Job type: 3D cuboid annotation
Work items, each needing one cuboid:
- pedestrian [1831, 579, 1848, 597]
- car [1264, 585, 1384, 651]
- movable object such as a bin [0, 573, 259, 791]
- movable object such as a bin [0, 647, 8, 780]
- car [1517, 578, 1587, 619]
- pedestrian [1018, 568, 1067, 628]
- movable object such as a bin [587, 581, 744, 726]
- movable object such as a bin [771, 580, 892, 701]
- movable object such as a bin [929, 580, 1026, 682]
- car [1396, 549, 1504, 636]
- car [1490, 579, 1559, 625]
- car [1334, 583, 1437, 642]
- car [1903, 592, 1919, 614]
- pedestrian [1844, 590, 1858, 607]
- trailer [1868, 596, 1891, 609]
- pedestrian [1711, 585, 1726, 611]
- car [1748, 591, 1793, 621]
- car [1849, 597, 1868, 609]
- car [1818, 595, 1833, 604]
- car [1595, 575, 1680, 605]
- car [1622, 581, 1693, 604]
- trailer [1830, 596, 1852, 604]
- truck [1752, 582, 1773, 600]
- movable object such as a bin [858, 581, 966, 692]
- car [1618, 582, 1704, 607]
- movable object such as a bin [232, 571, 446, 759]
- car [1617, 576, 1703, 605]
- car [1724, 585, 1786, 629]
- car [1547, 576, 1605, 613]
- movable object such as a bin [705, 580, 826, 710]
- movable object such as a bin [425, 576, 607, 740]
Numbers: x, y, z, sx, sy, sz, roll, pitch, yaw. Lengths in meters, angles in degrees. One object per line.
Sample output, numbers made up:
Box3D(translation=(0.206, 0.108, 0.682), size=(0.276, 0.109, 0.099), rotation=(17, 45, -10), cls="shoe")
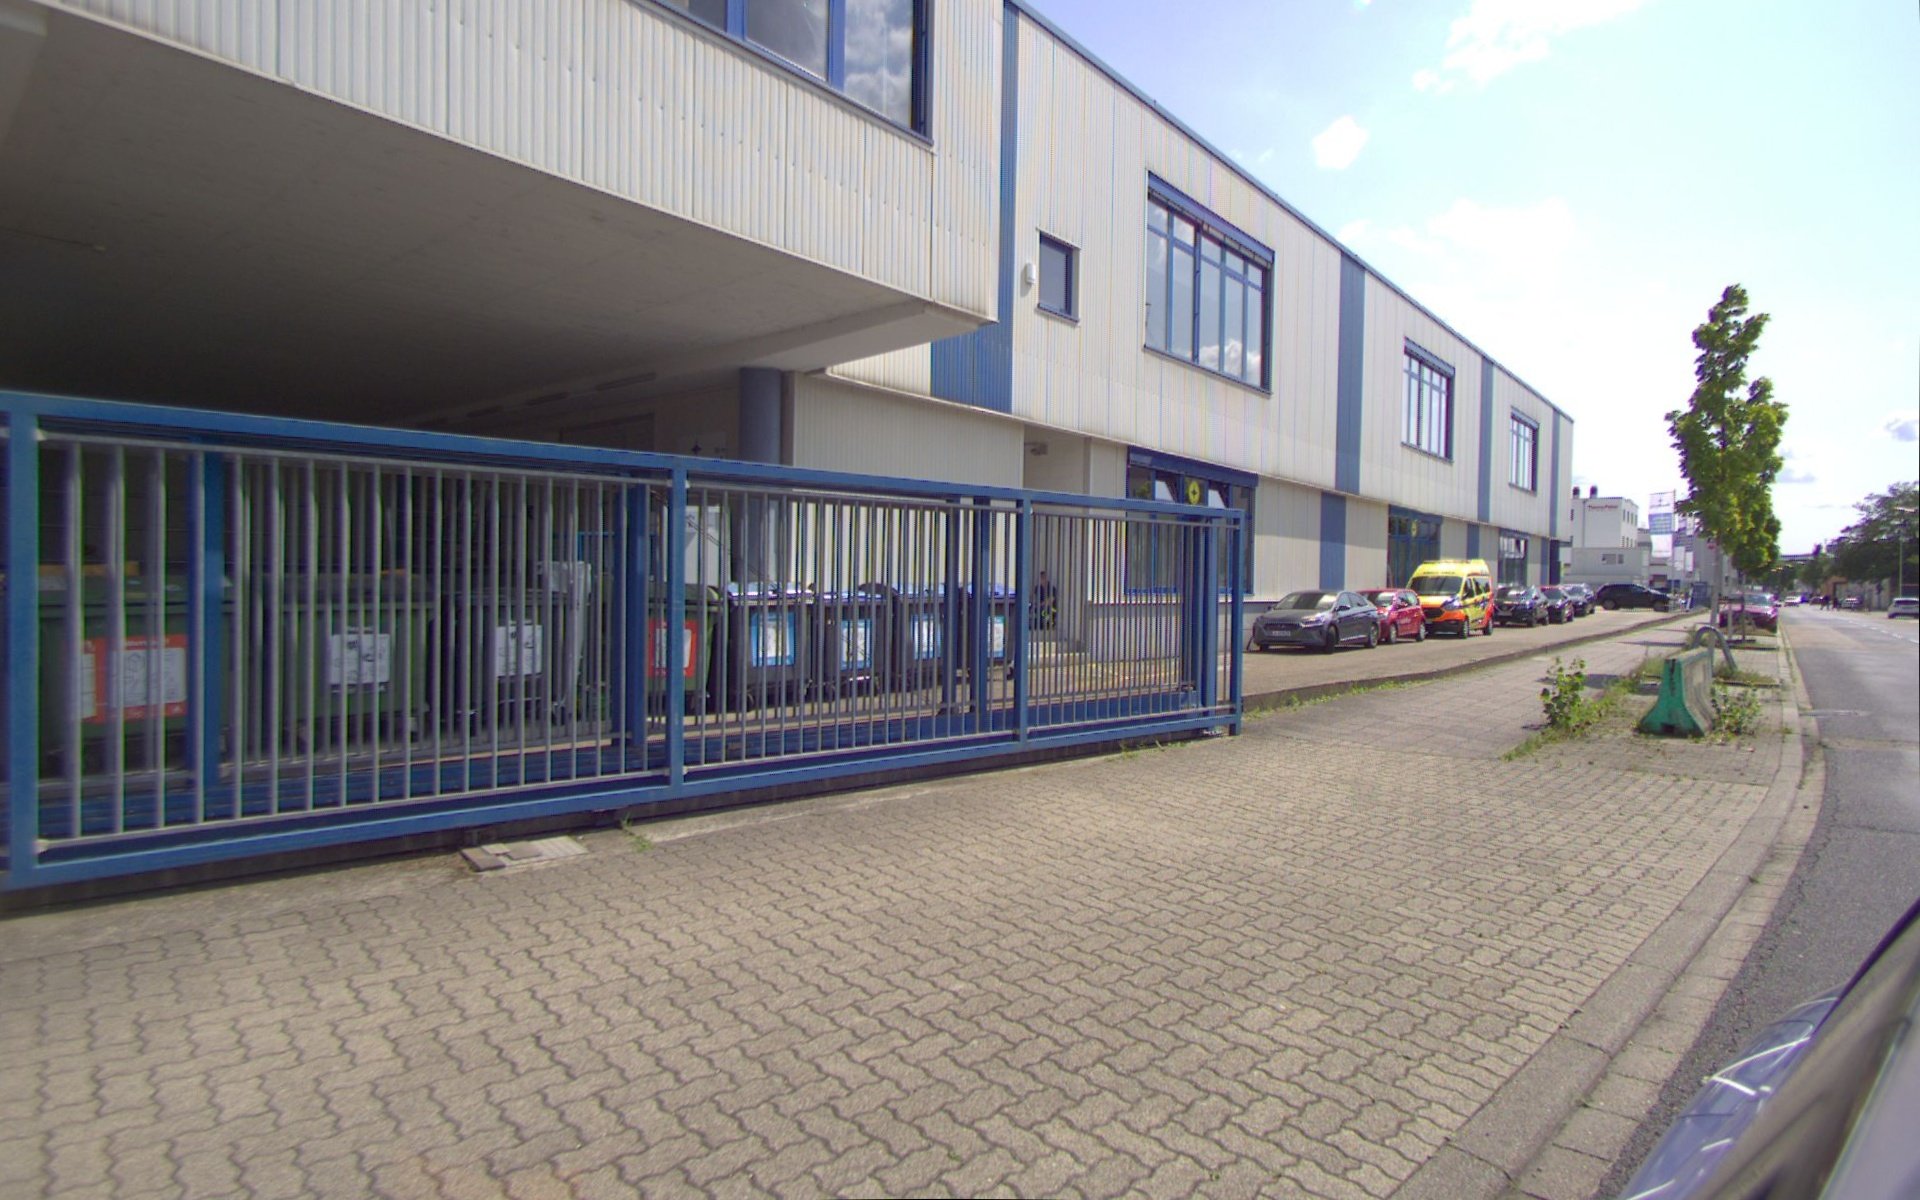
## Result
Box3D(translation=(100.052, -1.396, 115.146), size=(0.979, 1.976, 1.085), rotation=(2, 1, 17), cls="pedestrian")
Box3D(translation=(8.679, 0.368, 23.990), size=(1.494, 1.421, 3.799), rotation=(1, 1, 40), cls="car")
Box3D(translation=(-6.044, 0.526, 7.403), size=(0.802, 1.431, 1.339), rotation=(0, 0, 38), cls="movable object such as a bin")
Box3D(translation=(-7.026, 0.797, 7.108), size=(0.597, 0.921, 0.412), rotation=(0, 0, 38), cls="movable object such as a bin")
Box3D(translation=(26.092, -0.112, 44.533), size=(1.991, 1.677, 4.229), rotation=(2, 3, 40), cls="car")
Box3D(translation=(1.552, -0.037, 18.976), size=(0.563, 1.089, 0.740), rotation=(-2, -1, 40), cls="pedestrian")
Box3D(translation=(-3.097, 0.513, 10.736), size=(0.802, 1.431, 1.408), rotation=(0, 0, 38), cls="movable object such as a bin")
Box3D(translation=(-1.604, 0.471, 12.745), size=(0.802, 1.431, 1.339), rotation=(0, 0, 39), cls="movable object such as a bin")
Box3D(translation=(0.270, 0.428, 15.048), size=(0.802, 1.431, 1.339), rotation=(0, 0, 39), cls="movable object such as a bin")
Box3D(translation=(15.489, -0.256, 31.836), size=(1.921, 2.494, 5.184), rotation=(0, 1, 40), cls="car")
Box3D(translation=(22.626, 0.036, 40.495), size=(1.712, 1.672, 4.155), rotation=(2, 2, 40), cls="car")
Box3D(translation=(11.631, 0.285, 27.554), size=(1.570, 1.509, 3.762), rotation=(1, 1, 40), cls="car")
Box3D(translation=(75.303, 0.217, 79.180), size=(1.864, 1.730, 4.686), rotation=(0, 1, 39), cls="car")
Box3D(translation=(101.124, -0.186, 114.864), size=(0.847, 1.830, 1.000), rotation=(2, 1, 17), cls="pedestrian")
Box3D(translation=(109.852, 0.319, 120.912), size=(1.764, 1.457, 4.274), rotation=(-2, -1, 39), cls="trailer")
Box3D(translation=(52.304, -0.129, 69.789), size=(0.768, 1.778, 0.776), rotation=(4, 3, 39), cls="pedestrian")
Box3D(translation=(43.860, 0.292, 54.759), size=(1.832, 1.539, 4.399), rotation=(1, 1, 39), cls="car")
Box3D(translation=(119.378, 0.388, 134.467), size=(1.670, 1.474, 4.450), rotation=(-1, 0, 39), cls="car")
Box3D(translation=(155.783, -0.133, 182.177), size=(1.706, 1.486, 4.566), rotation=(-2, -1, 38), cls="car")
Box3D(translation=(40.482, -0.639, 60.484), size=(4.077, 1.707, 1.972), rotation=(2, 1, 39), cls="car")
Box3D(translation=(49.444, -0.542, 71.782), size=(3.983, 1.438, 1.971), rotation=(3, 2, 41), cls="car")
Box3D(translation=(145.385, -0.051, 167.096), size=(2.446, 1.179, 5.969), rotation=(-1, 0, 38), cls="trailer")
Box3D(translation=(148.471, -1.622, 187.234), size=(2.592, 3.267, 7.975), rotation=(-2, -1, 35), cls="truck")
Box3D(translation=(-0.645, 0.460, 13.838), size=(0.802, 1.431, 1.339), rotation=(0, 0, 39), cls="movable object such as a bin")
Box3D(translation=(44.147, -0.377, 63.774), size=(4.275, 1.438, 1.971), rotation=(3, 2, 41), cls="car")
Box3D(translation=(-5.181, 0.485, 8.494), size=(0.802, 1.431, 1.339), rotation=(0, 0, 38), cls="movable object such as a bin")
Box3D(translation=(42.646, -0.596, 61.694), size=(4.218, 1.667, 2.118), rotation=(2, 1, 39), cls="car")
Box3D(translation=(32.038, 0.235, 40.750), size=(1.753, 1.671, 4.609), rotation=(1, 1, 41), cls="car")
Box3D(translation=(30.315, -0.313, 49.745), size=(1.825, 1.530, 4.576), rotation=(2, 4, 40), cls="car")
Box3D(translation=(-2.262, 0.483, 11.838), size=(0.802, 1.431, 1.159), rotation=(0, 0, 38), cls="movable object such as a bin")
Box3D(translation=(-4.201, 0.495, 9.639), size=(0.802, 1.431, 1.386), rotation=(0, 0, 38), cls="movable object such as a bin")
